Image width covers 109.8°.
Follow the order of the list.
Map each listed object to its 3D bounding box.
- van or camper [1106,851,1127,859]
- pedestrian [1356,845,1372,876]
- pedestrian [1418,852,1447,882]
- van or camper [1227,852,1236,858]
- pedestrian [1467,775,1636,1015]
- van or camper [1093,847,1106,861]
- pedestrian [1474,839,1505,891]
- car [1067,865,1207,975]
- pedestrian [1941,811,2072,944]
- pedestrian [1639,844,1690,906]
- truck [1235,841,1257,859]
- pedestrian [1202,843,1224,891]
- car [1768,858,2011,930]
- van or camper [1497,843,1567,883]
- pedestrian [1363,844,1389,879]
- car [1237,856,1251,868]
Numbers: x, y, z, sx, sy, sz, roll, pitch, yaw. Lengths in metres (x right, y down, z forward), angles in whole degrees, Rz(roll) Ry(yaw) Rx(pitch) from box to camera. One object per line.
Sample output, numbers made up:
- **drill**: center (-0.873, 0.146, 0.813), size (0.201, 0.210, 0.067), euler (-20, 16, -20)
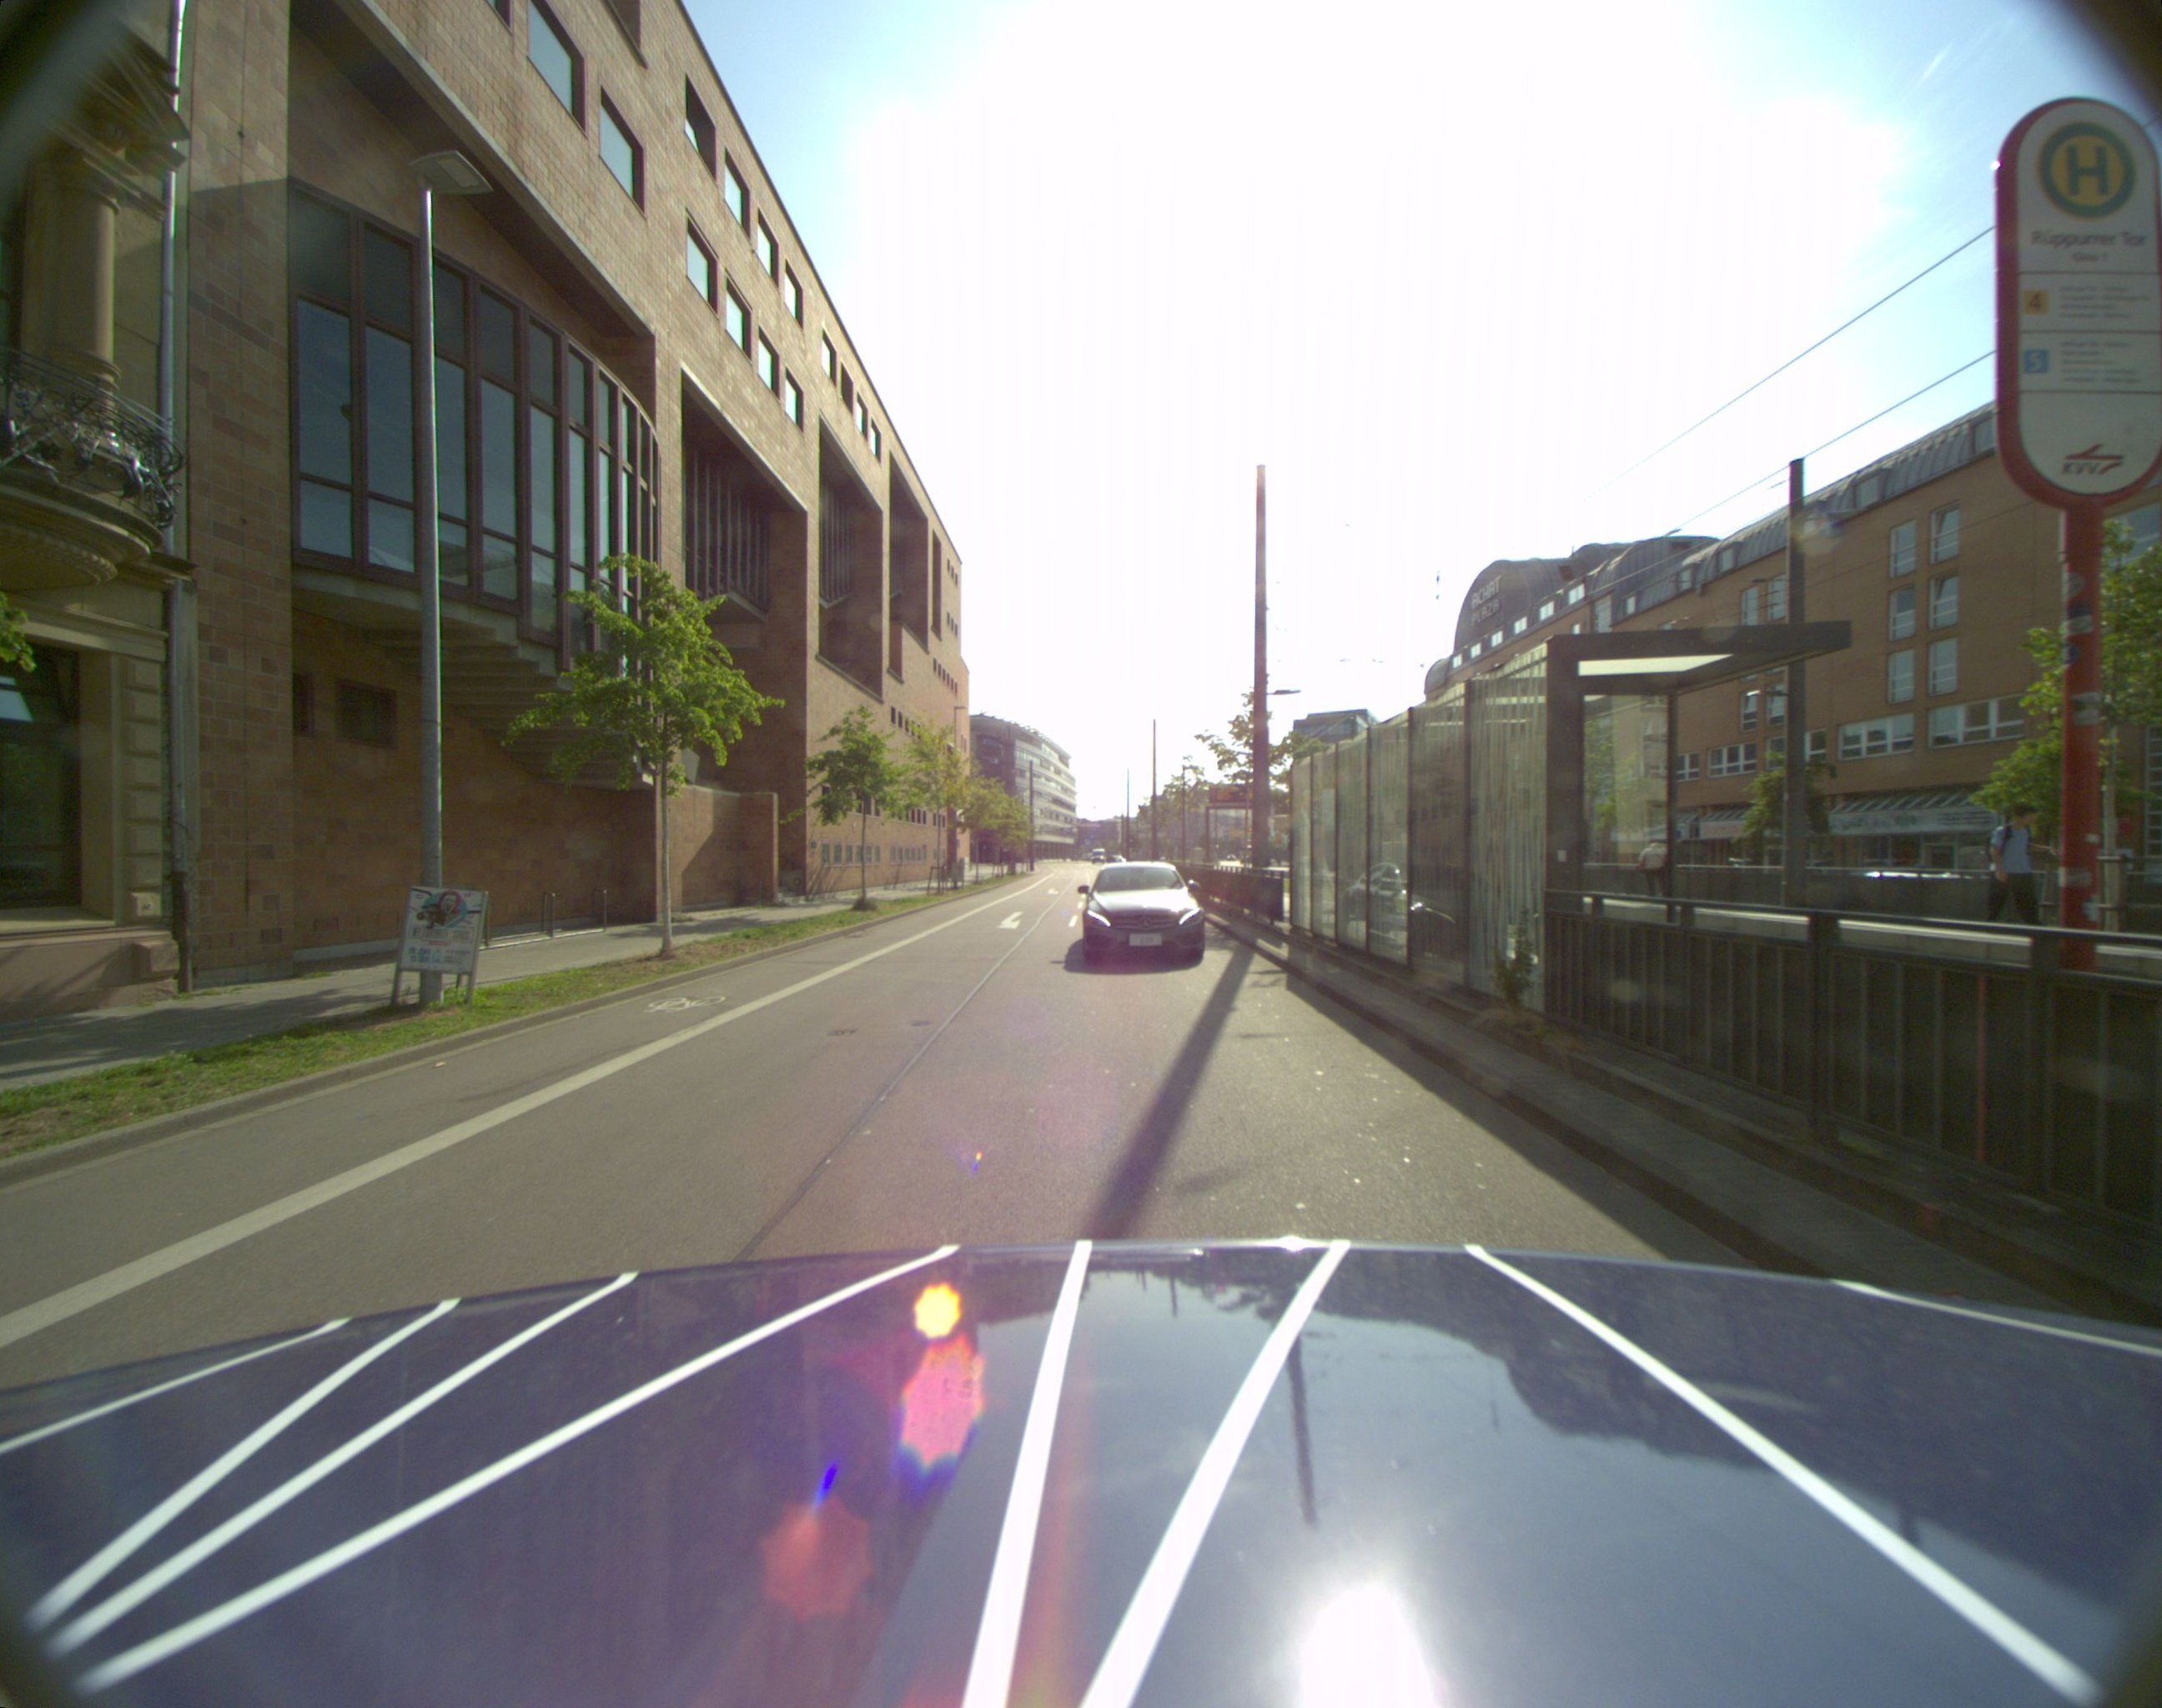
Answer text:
- **van or camper**: center (5.443, 0.123, 117.939), size (1.937, 1.305, 3.979), euler (0, 0, -18)
- **pedestrian**: center (16.184, 0.375, 43.470), size (0.652, 1.750, 0.698), euler (-3, 1, 3)
- **pedestrian**: center (15.415, 0.550, 33.362), size (0.871, 1.306, 0.808), euler (0, 1, -1)
- **van or camper**: center (37.836, 0.273, 191.037), size (1.842, 1.543, 4.005), euler (1, 0, 15)
- **pedestrian**: center (4.257, 0.342, 6.959), size (0.835, 2.002, 1.028), euler (-3, 1, -2)
- **van or camper**: center (3.138, -0.008, 127.455), size (1.933, 2.198, 3.987), euler (0, 0, 5)
- **pedestrian**: center (14.852, 0.407, 27.641), size (0.807, 1.875, 0.554), euler (0, 1, -7)
- **car**: center (0.827, 0.936, 12.576), size (1.906, 1.384, 4.236), euler (-1, 1, 1)
- **pedestrian**: center (13.484, 0.333, 11.107), size (0.740, 1.861, 0.939), euler (0, 1, 4)
- **pedestrian**: center (14.754, 0.512, 19.227), size (0.679, 1.522, 0.810), euler (0, 1, -29)
- **truck**: center (35.561, -0.814, 164.072), size (3.167, 3.754, 12.363), euler (0, 0, 5)
- **pedestrian**: center (4.983, 0.475, 28.723), size (0.675, 1.747, 0.727), euler (-3, 1, 1)
- **car**: center (22.771, 1.028, 21.747), size (1.998, 1.795, 4.631), euler (1, 0, 0)
- **van or camper**: center (32.467, 0.611, 54.953), size (1.998, 2.786, 5.353), euler (0, 0, 2)
- **pedestrian**: center (14.743, 0.381, 38.003), size (0.786, 1.736, 0.833), euler (1, 1, -35)
- **car**: center (29.811, 1.418, 139.039), size (1.998, 2.002, 4.001), euler (0, 0, 4)
